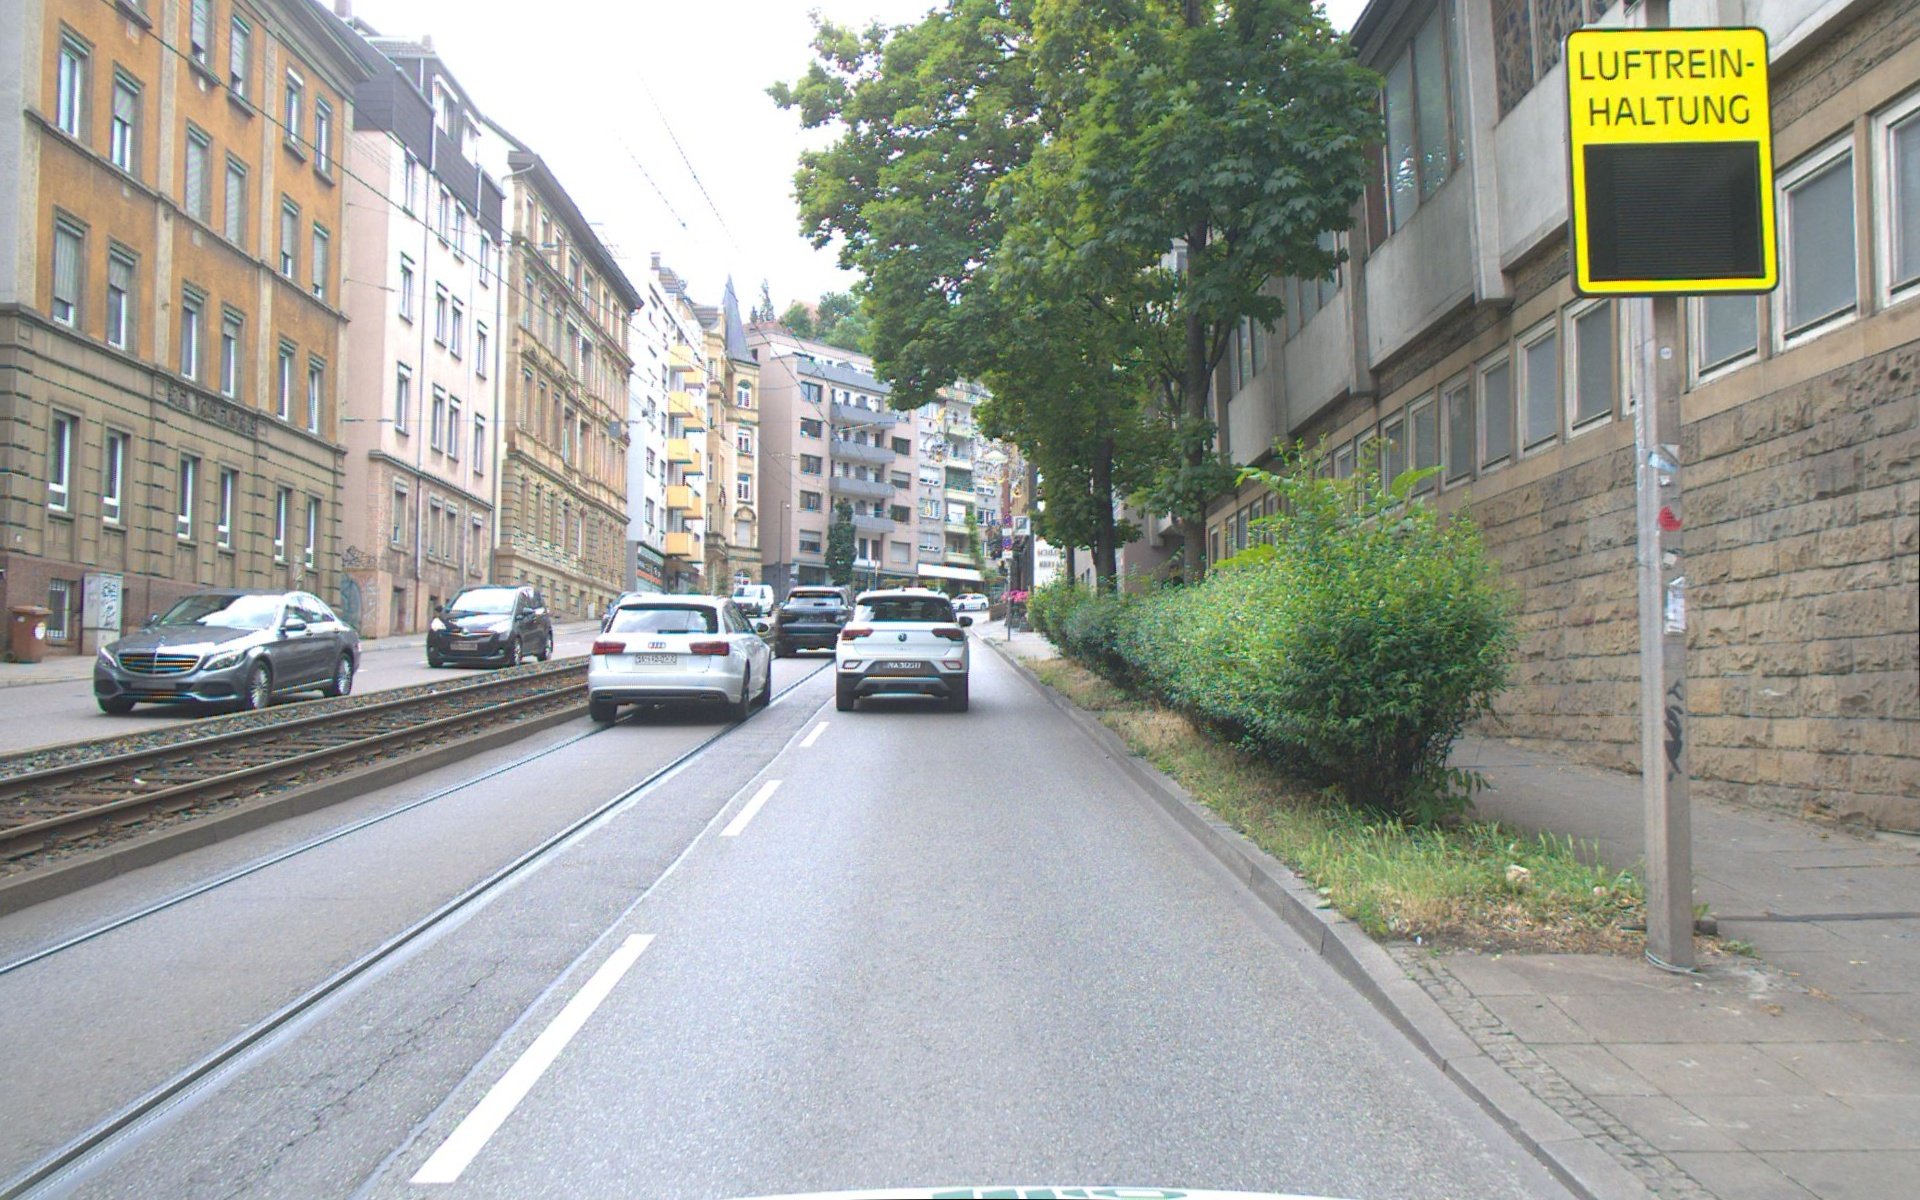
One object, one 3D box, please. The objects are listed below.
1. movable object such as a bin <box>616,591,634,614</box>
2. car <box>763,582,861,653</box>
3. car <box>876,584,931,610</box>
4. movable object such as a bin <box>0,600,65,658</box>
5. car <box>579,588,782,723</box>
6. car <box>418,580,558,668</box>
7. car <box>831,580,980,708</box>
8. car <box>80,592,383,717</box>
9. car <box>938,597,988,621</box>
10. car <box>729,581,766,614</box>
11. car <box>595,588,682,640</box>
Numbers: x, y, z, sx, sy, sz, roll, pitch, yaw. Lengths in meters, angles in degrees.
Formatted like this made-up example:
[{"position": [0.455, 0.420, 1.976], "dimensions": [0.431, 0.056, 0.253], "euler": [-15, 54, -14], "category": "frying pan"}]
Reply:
[{"position": [-16.318, 0.110, 80.483], "dimensions": [0.754, 1.092, 0.561], "euler": [1, 0, -1], "category": "movable object such as a bin"}, {"position": [-3.517, 0.385, 40.117], "dimensions": [1.996, 1.599, 4.358], "euler": [0, 0, 0], "category": "car"}, {"position": [-4.518, -0.231, 132.991], "dimensions": [1.961, 2.071, 4.682], "euler": [1, 0, 37], "category": "car"}, {"position": [-15.606, 0.484, 27.810], "dimensions": [0.763, 0.964, 0.653], "euler": [1, 0, -1], "category": "movable object such as a bin"}, {"position": [-3.347, 0.614, 20.663], "dimensions": [1.841, 1.480, 4.616], "euler": [1, 0, -1], "category": "car"}, {"position": [-9.304, 0.439, 32.902], "dimensions": [1.708, 1.624, 3.968], "euler": [1, 0, -1], "category": "car"}, {"position": [-0.764, 0.562, 22.774], "dimensions": [1.841, 1.582, 3.998], "euler": [1, 0, -2], "category": "car"}, {"position": [-8.968, 0.598, 20.860], "dimensions": [1.775, 1.384, 4.764], "euler": [1, 0, -1], "category": "car"}, {"position": [0.258, 0.737, 138.455], "dimensions": [1.873, 1.956, 4.416], "euler": [1, 0, 37], "category": "car"}, {"position": [-12.848, -0.172, 100.215], "dimensions": [1.918, 1.933, 5.314], "euler": [1, 0, -4], "category": "car"}, {"position": [-9.724, 0.400, 50.299], "dimensions": [1.806, 1.480, 4.660], "euler": [1, 0, -1], "category": "car"}]
